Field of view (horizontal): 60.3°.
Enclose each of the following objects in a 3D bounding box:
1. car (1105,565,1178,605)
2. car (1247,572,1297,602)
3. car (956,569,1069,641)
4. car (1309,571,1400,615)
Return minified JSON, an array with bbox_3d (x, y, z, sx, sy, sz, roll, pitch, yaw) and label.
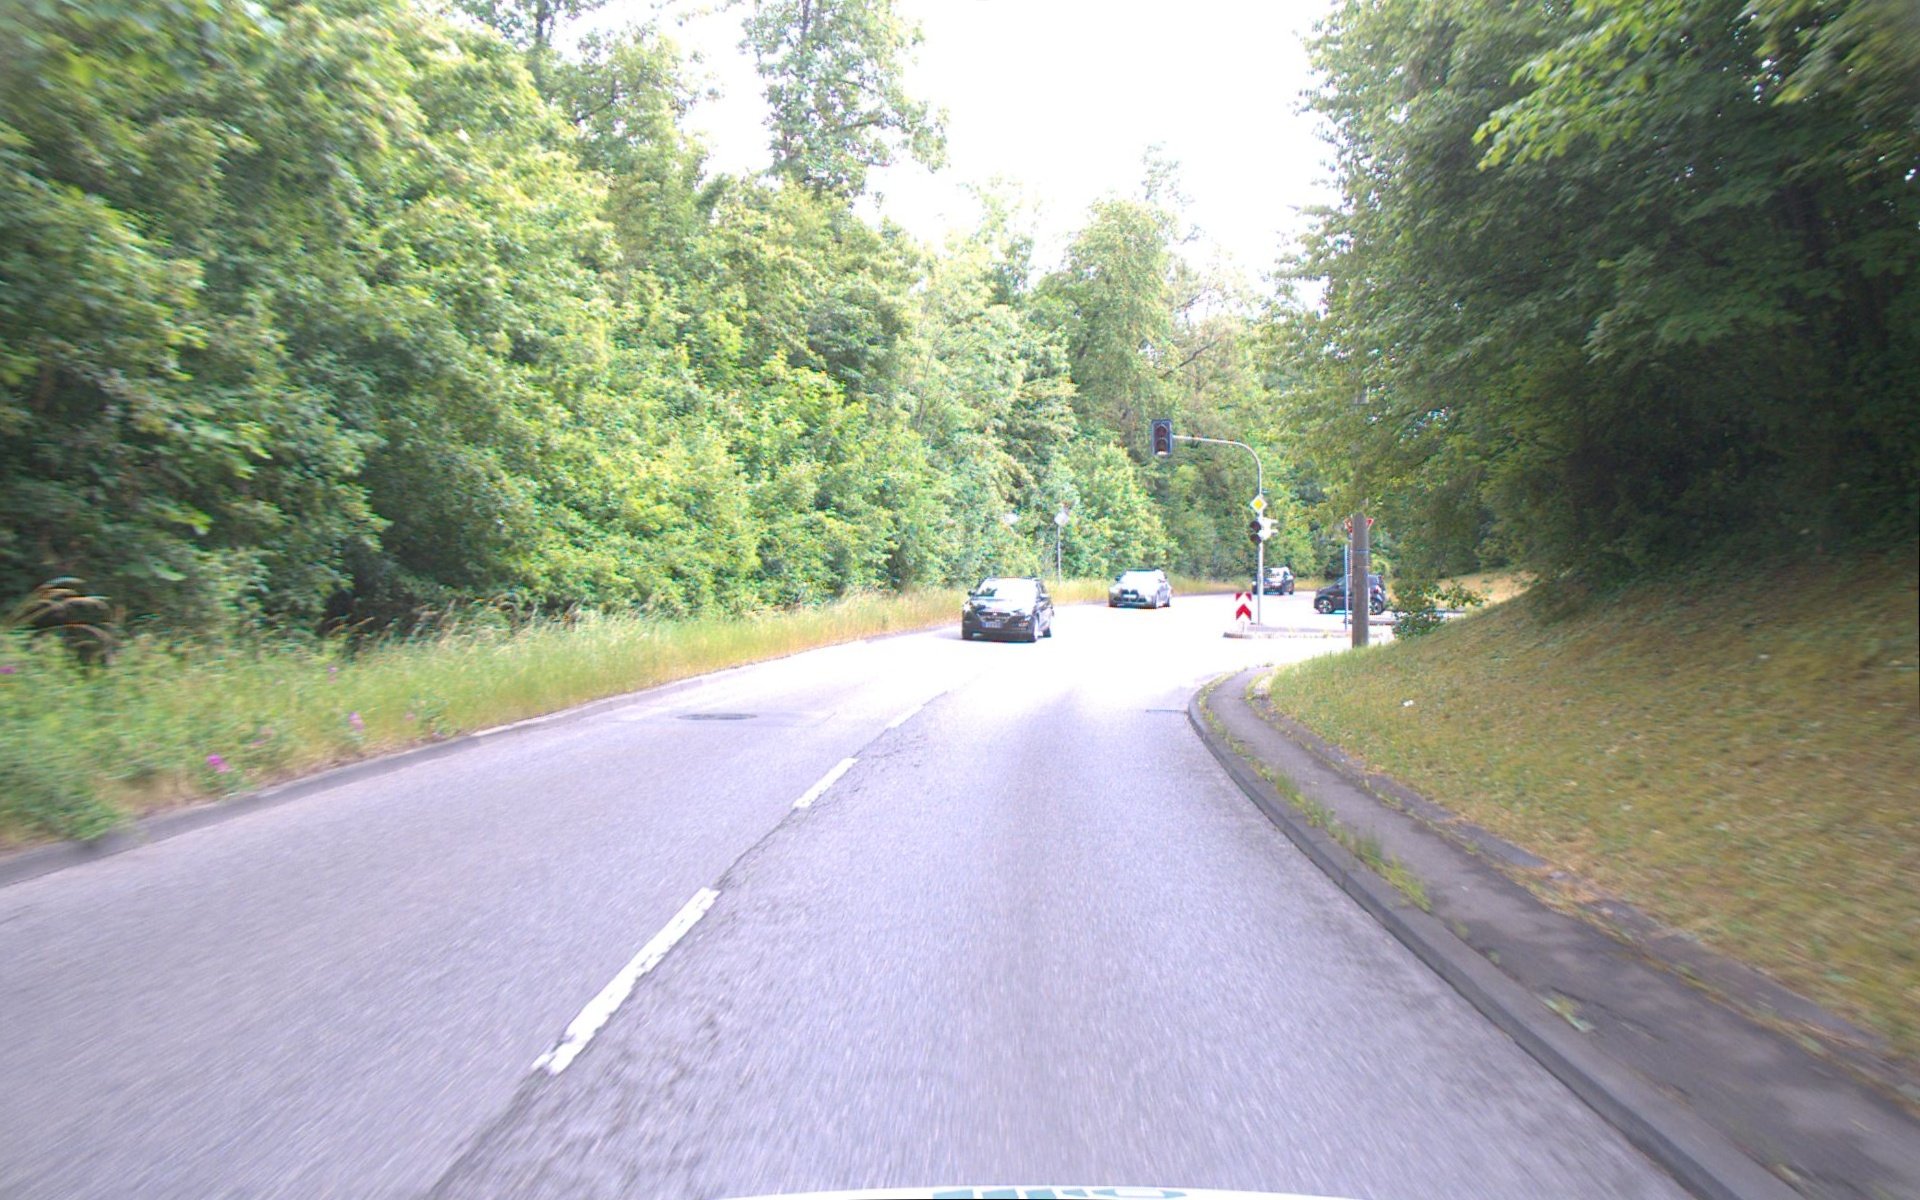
[{"bbox_3d":[7.090,-0.571,64.241,1.859,1.377,4.845,3,1,18],"label":"car"},{"bbox_3d":[17.724,-0.731,93.691,1.753,1.541,4.841,3,1,23],"label":"car"},{"bbox_3d":[1.317,0.067,39.448,1.764,1.459,4.665,3,2,13],"label":"car"},{"bbox_3d":[15.216,-0.291,63.713,3.235,1.520,1.669,3,2,17],"label":"car"}]
